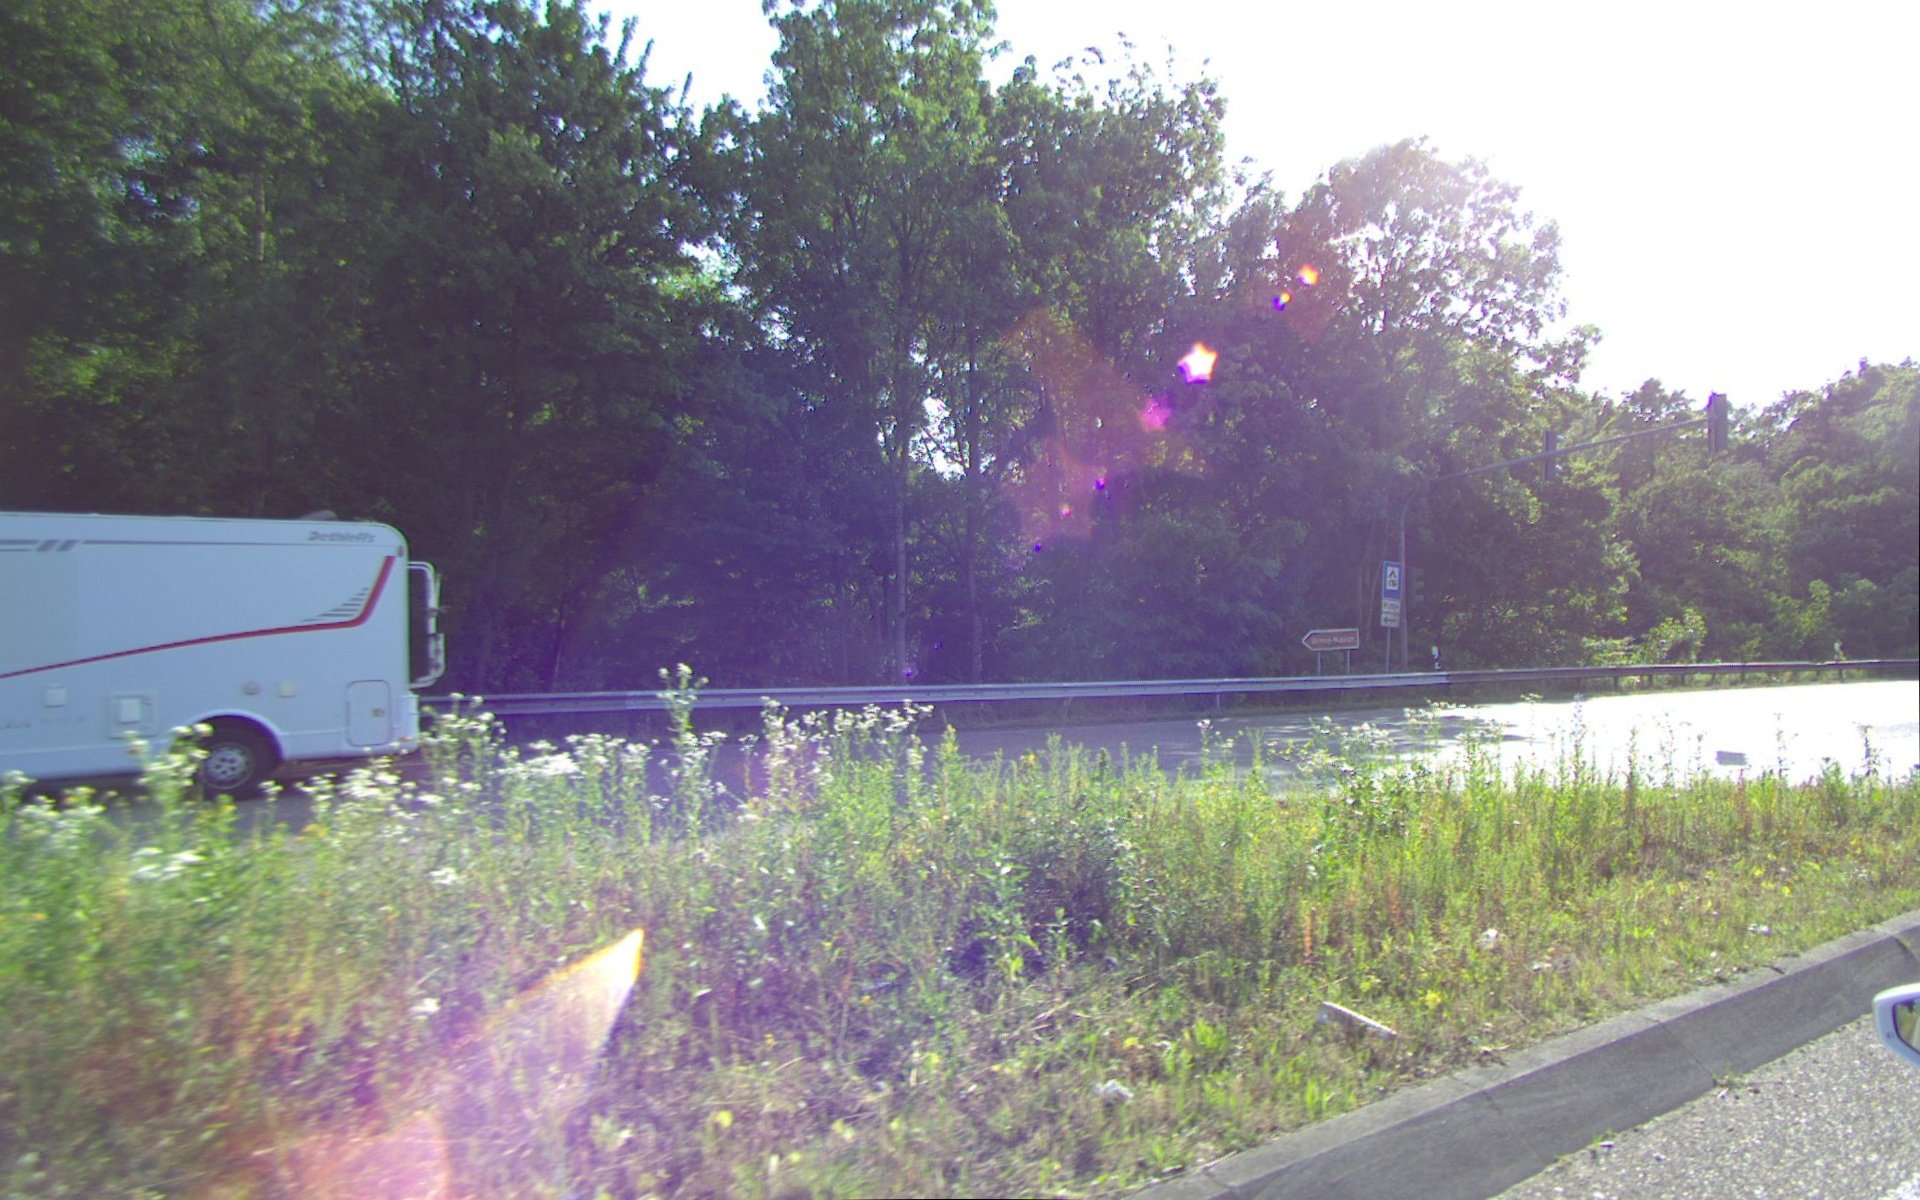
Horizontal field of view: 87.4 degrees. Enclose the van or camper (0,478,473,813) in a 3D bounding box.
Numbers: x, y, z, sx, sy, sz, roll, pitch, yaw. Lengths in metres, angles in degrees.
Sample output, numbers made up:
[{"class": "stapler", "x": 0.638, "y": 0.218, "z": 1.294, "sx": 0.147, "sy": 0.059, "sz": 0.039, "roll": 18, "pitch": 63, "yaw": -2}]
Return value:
[{"class": "van or camper", "x": -8.201, "y": 0.438, "z": 9.432, "sx": 6.362, "sy": 2.746, "sz": 2.402, "roll": 1, "pitch": -4, "yaw": -31}]
